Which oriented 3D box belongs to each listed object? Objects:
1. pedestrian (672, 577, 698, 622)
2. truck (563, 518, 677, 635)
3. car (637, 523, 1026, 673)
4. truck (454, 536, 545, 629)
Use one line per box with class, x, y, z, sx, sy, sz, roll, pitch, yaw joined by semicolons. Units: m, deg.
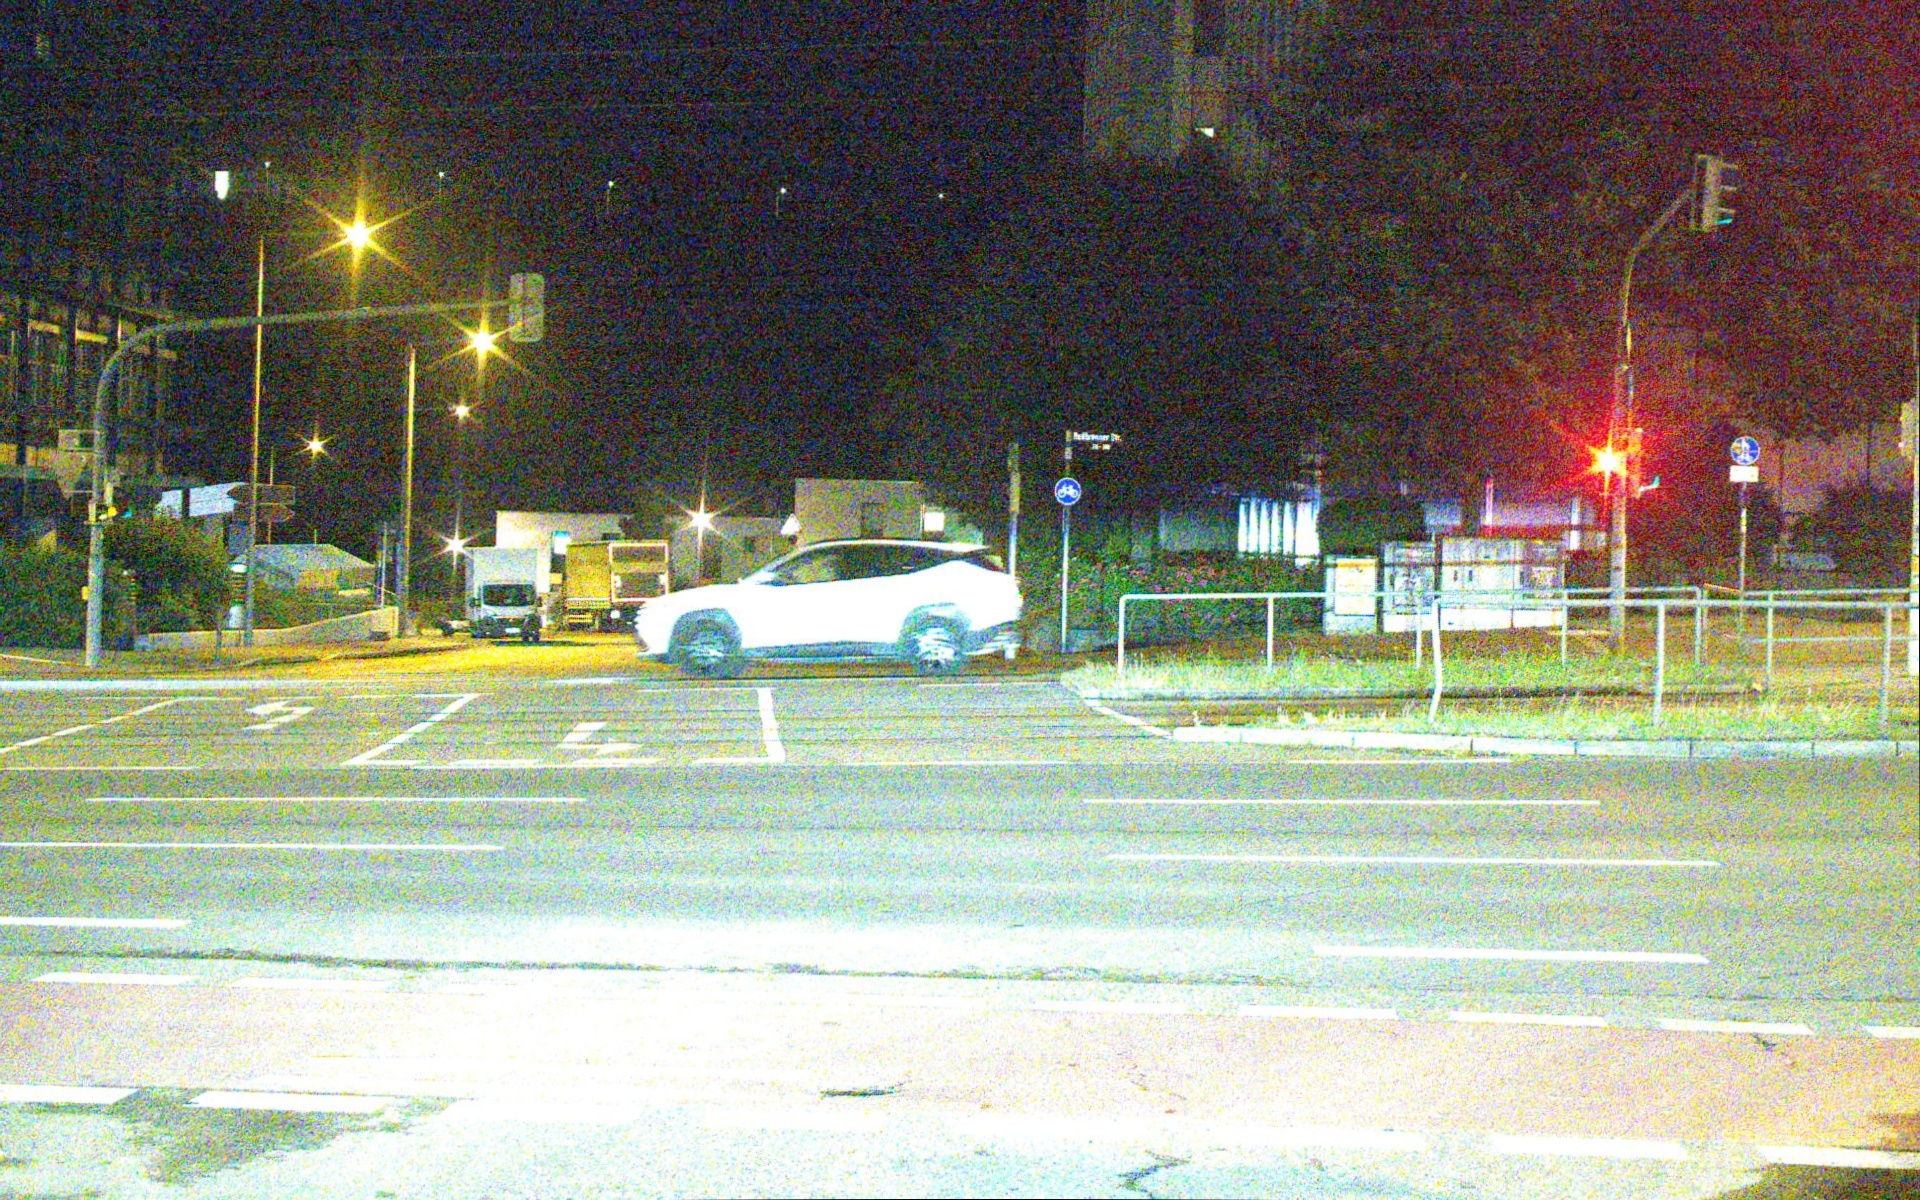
pedestrian;-11.815;-0.029;147.530;0.849;1.905;1.007;1;0;-18
truck;-14.772;-1.002;148.854;3.359;4.826;7.908;1;0;-17
car;-1.466;-0.020;40.546;4.398;1.638;1.941;1;0;3
truck;-16.079;-0.596;119.797;2.417;3.078;6.439;1;0;-14
